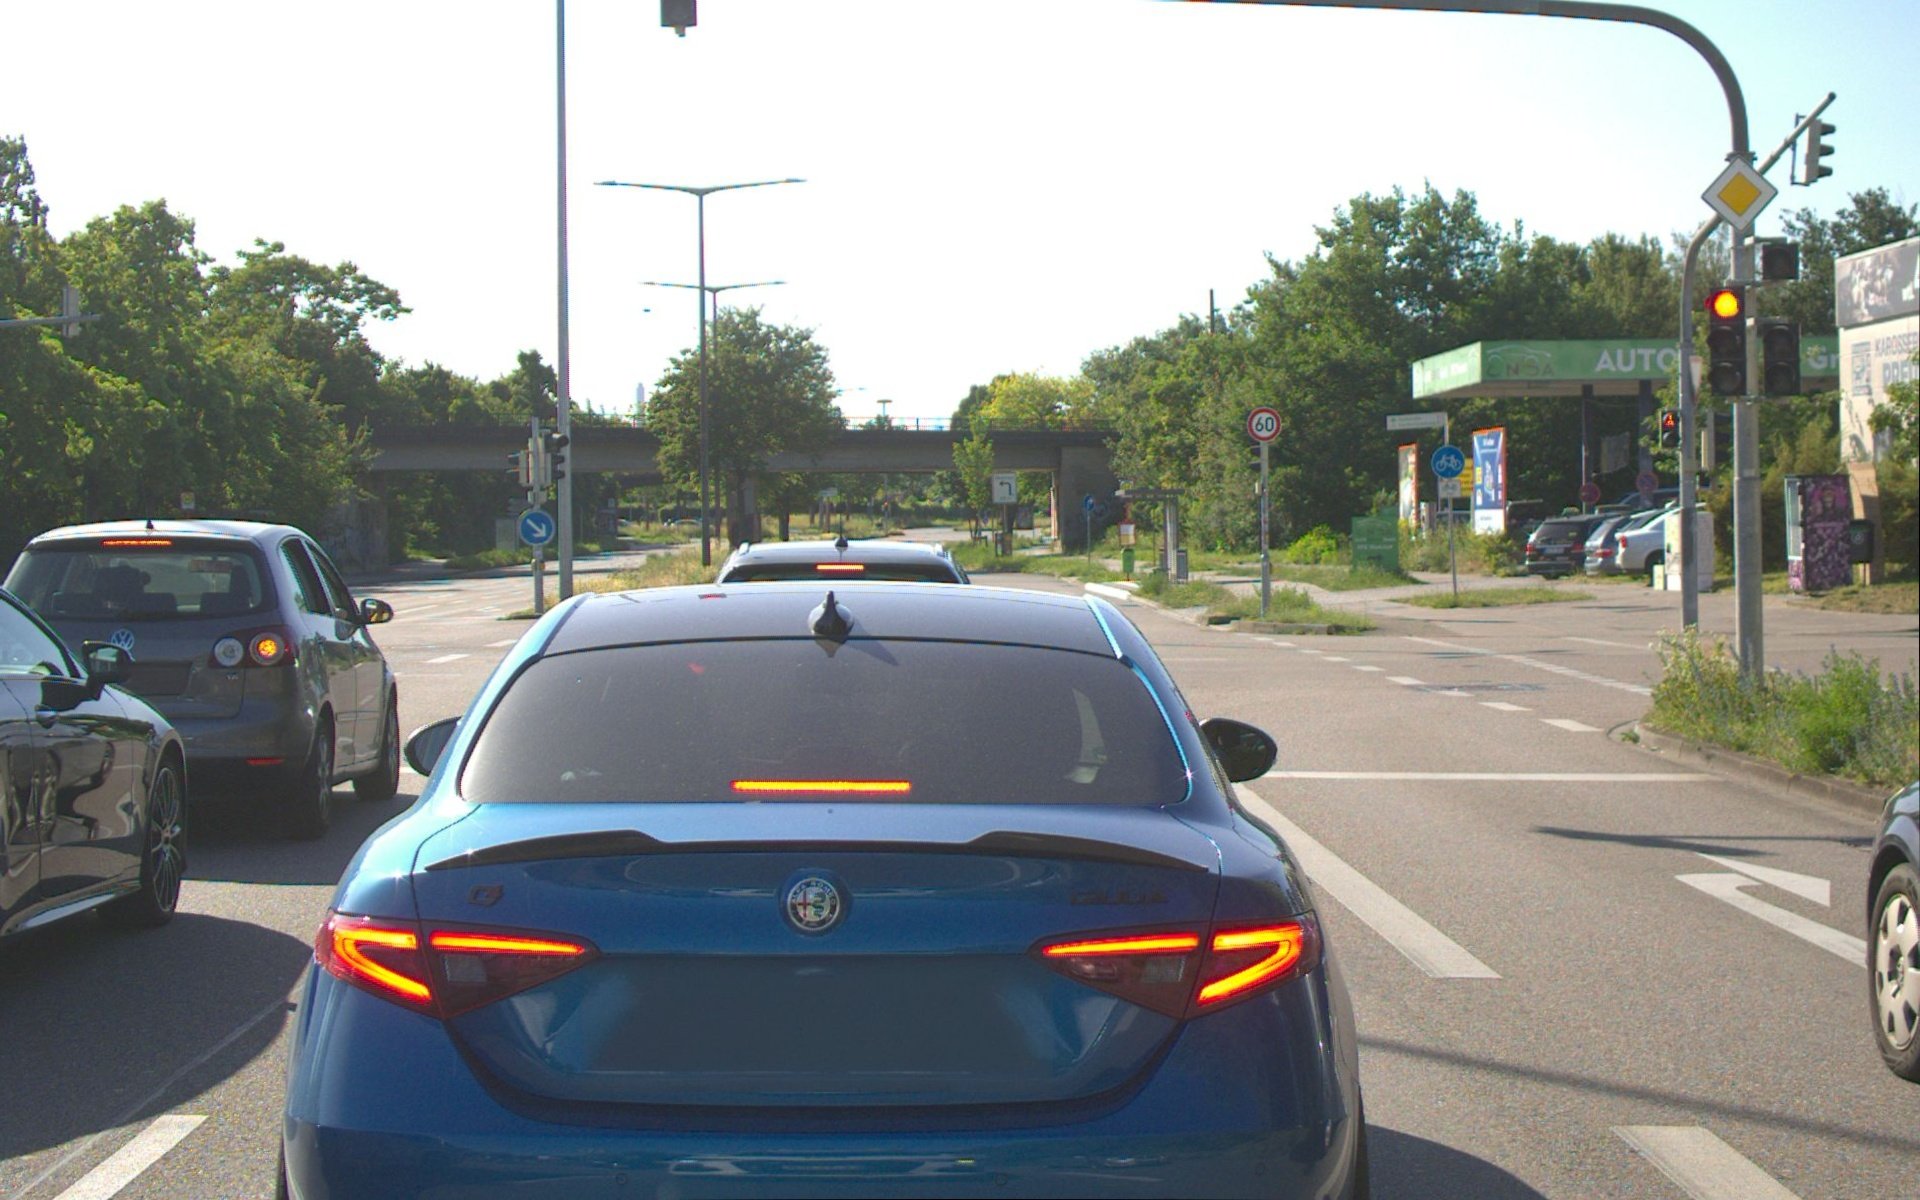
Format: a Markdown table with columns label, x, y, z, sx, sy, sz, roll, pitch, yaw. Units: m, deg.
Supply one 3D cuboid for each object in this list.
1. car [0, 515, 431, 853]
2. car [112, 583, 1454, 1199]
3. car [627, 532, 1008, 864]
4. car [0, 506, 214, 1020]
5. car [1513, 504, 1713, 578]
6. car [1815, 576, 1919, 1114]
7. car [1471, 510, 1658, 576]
| label | x | y | z | sx | sy | sz | roll | pitch | yaw |
| --- | --- | --- | --- | --- | --- | --- | --- | --- | --- |
| car | -3.960 | 0.368 | 18.079 | 1.812 | 1.546 | 4.354 | 1 | 0 | -2 |
| car | -0.226 | 0.696 | 6.777 | 1.910 | 1.418 | 3.719 | 1 | 0 | 1 |
| car | -0.626 | 0.432 | 17.579 | 1.704 | 1.492 | 3.719 | 1 | 0 | 1 |
| car | -3.814 | 0.467 | 11.326 | 1.812 | 1.546 | 4.544 | 0 | 1 | -1 |
| car | 14.276 | -1.293 | 75.343 | 3.987 | 1.547 | 2.000 | 1 | 0 | 1 |
| car | 3.477 | 0.695 | 8.144 | 1.734 | 1.437 | 4.372 | 1 | 1 | -1 |
| car | 14.716 | -1.381 | 83.762 | 3.986 | 1.547 | 2.001 | 1 | 0 | -18 |
